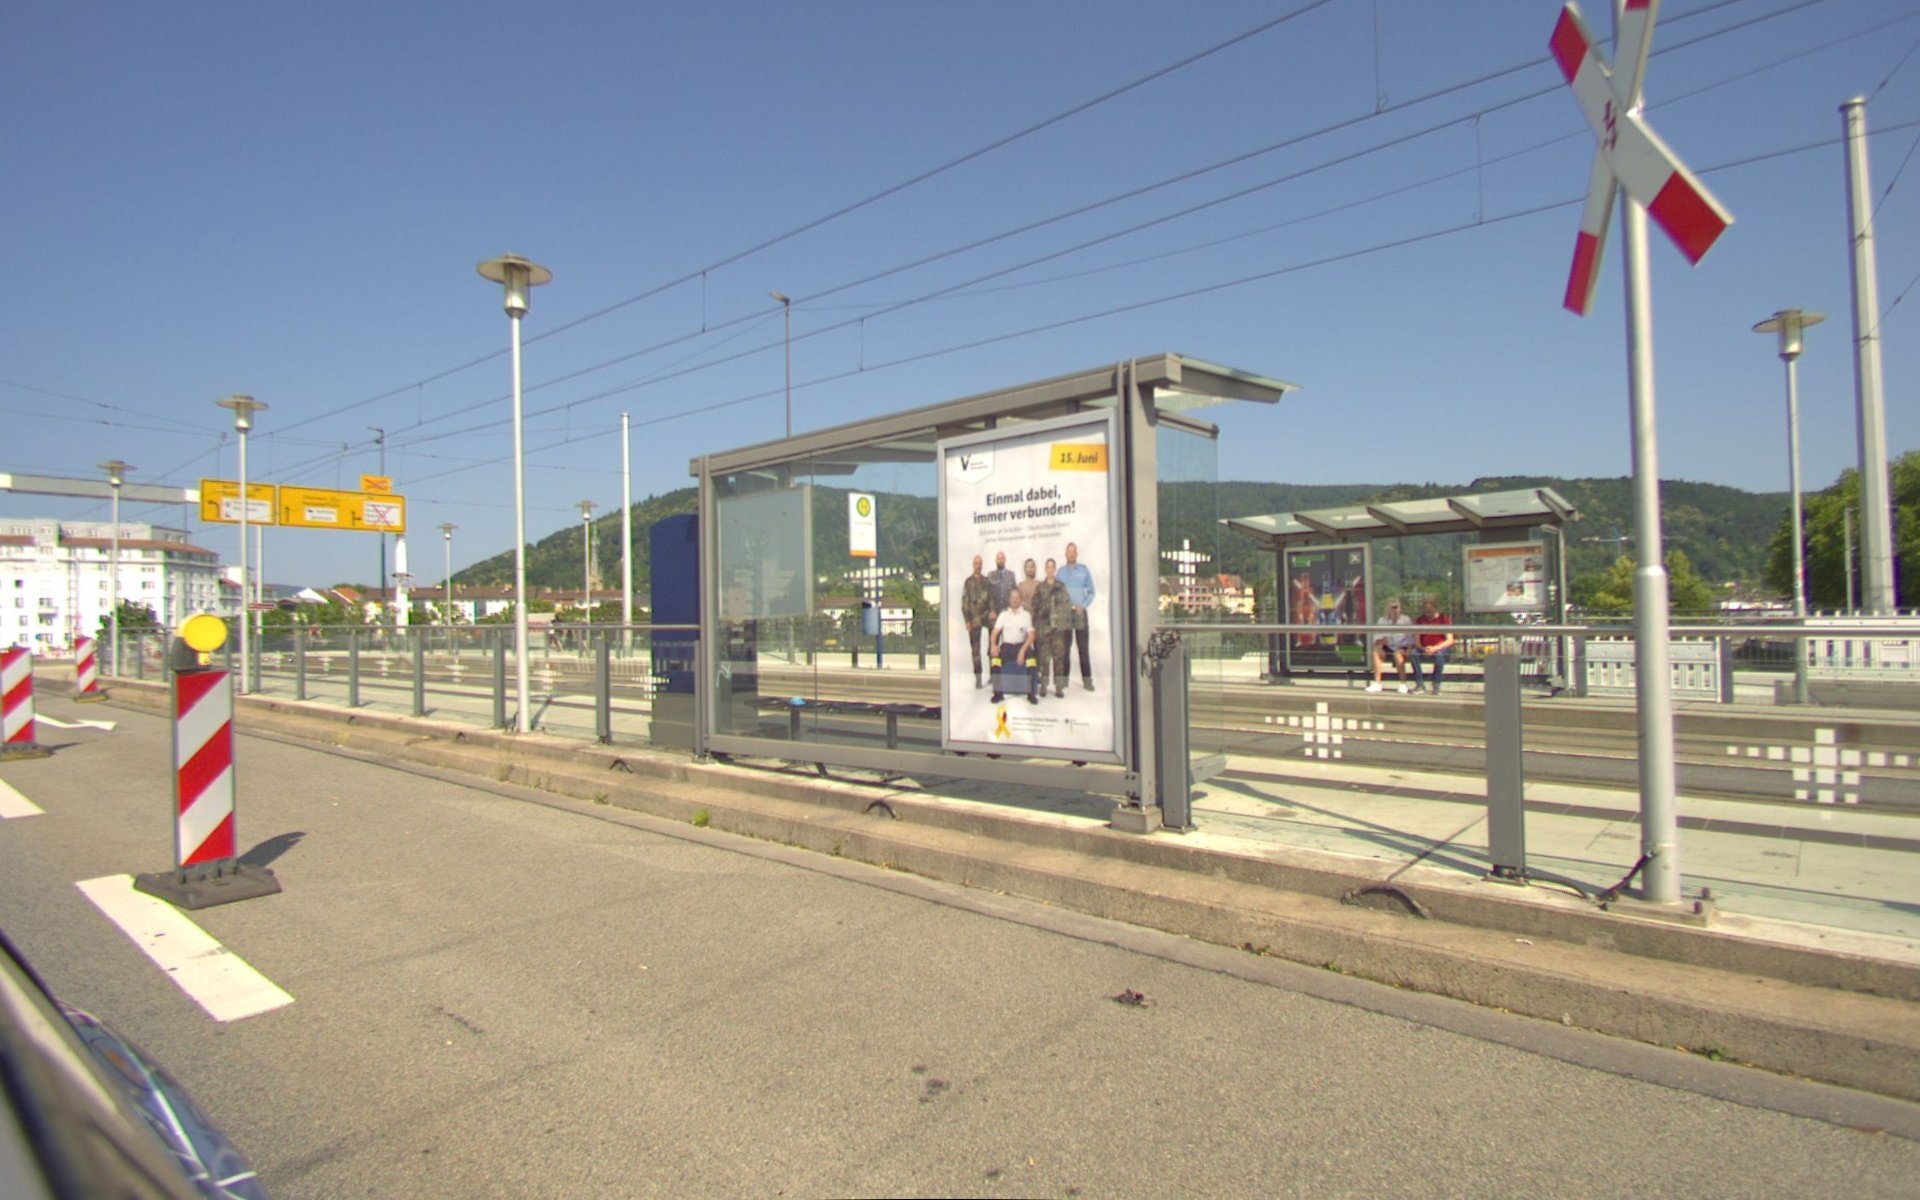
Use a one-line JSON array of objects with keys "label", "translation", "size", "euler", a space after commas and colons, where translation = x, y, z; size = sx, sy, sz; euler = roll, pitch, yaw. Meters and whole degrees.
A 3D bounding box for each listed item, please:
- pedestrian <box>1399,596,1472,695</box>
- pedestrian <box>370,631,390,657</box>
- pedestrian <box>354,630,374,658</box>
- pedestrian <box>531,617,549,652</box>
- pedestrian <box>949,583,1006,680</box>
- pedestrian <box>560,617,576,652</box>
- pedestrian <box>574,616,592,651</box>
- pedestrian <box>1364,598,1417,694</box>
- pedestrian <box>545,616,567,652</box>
[{"label": "pedestrian", "translation": [6.367, 0.596, 13.544], "size": [0.697, 1.283, 0.641], "euler": [-2, -2, 43]}, {"label": "pedestrian", "translation": [-36.235, 2.768, 63.193], "size": [0.887, 1.556, 0.713], "euler": [-3, 0, 37]}, {"label": "pedestrian", "translation": [-36.842, 2.710, 62.567], "size": [0.893, 1.654, 0.737], "euler": [-3, 0, 37]}, {"label": "pedestrian", "translation": [-20.701, 1.713, 49.847], "size": [0.807, 1.700, 0.481], "euler": [-3, -3, 40]}, {"label": "pedestrian", "translation": [0.307, 0.554, 17.987], "size": [0.652, 1.667, 0.740], "euler": [0, -2, -39]}, {"label": "pedestrian", "translation": [-19.247, 1.682, 49.663], "size": [0.769, 1.700, 0.379], "euler": [-3, -3, 40]}, {"label": "pedestrian", "translation": [-18.338, 1.627, 49.200], "size": [0.772, 1.700, 0.498], "euler": [-3, -3, 40]}, {"label": "pedestrian", "translation": [5.938, 0.623, 13.949], "size": [0.453, 1.283, 0.641], "euler": [-2, -2, 43]}, {"label": "pedestrian", "translation": [-19.505, 1.623, 48.846], "size": [0.731, 1.700, 0.745], "euler": [-3, -3, 40]}]
